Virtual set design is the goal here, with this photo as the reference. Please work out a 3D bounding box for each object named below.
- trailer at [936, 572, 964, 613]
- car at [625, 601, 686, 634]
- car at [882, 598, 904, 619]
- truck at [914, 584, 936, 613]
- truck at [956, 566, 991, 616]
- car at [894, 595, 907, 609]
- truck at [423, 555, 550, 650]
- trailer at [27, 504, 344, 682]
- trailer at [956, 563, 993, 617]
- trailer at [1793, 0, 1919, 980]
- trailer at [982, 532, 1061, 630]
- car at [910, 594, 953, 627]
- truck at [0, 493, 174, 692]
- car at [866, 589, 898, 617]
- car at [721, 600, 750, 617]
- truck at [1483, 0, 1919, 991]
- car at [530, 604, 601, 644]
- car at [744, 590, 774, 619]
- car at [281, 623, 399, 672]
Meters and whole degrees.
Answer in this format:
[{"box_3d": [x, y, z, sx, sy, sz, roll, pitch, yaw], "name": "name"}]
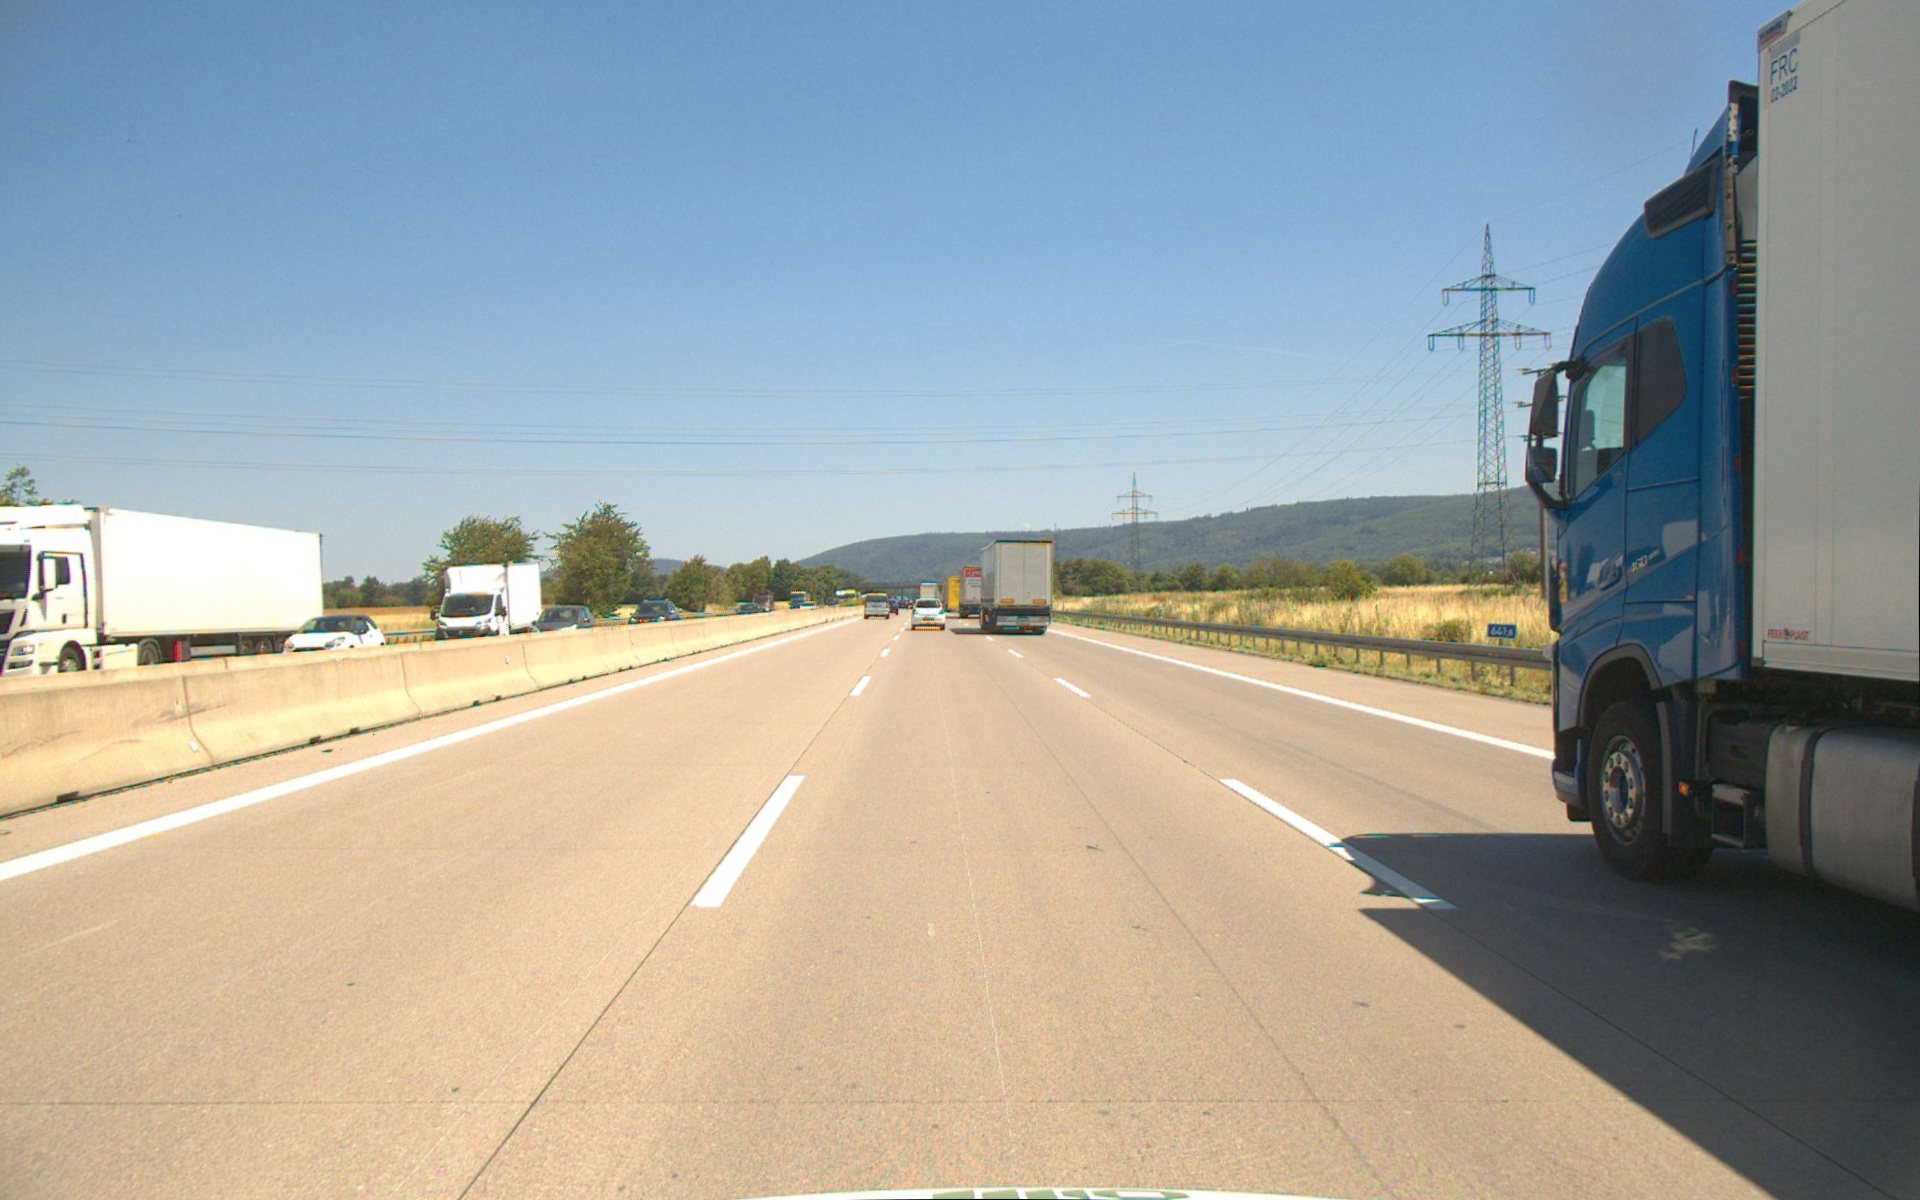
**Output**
[{"box_3d": [-1.215, -0.839, 197.523, 3.150, 4.643, 13.453, 1, 0, -1], "name": "trailer"}, {"box_3d": [-13.252, 0.736, 72.158, 1.808, 1.375, 4.493, 0, 0, 0], "name": "car"}, {"box_3d": [-6.343, 0.806, 156.773, 1.953, 1.991, 3.999, 1, 0, -1], "name": "car"}, {"box_3d": [-5.297, -0.210, 252.672, 3.285, 4.347, 8.226, 1, 0, -1], "name": "truck"}, {"box_3d": [1.097, -0.749, 141.903, 2.846, 4.172, 6.271, 1, 0, -1], "name": "truck"}, {"box_3d": [-8.600, 0.302, 239.283, 1.747, 1.914, 3.999, 1, 0, -1], "name": "car"}, {"box_3d": [-16.874, 0.096, 59.470, 2.495, 3.197, 7.920, 0, 0, -2], "name": "truck"}, {"box_3d": [-20.457, -0.156, 44.992, 2.762, 4.115, 12.675, 1, 0, -1], "name": "trailer"}, {"box_3d": [1.127, -0.750, 136.391, 2.815, 4.172, 13.510, 1, 0, 0], "name": "trailer"}, {"box_3d": [5.156, -0.577, 0.918, 2.654, 4.114, 12.899, 1, 0, -1], "name": "trailer"}, {"box_3d": [2.730, -0.819, 77.712, 2.956, 4.132, 14.204, 1, 0, -1], "name": "trailer"}, {"box_3d": [-1.384, 0.511, 81.941, 2.064, 1.563, 4.122, 1, 0, 0], "name": "car"}, {"box_3d": [-20.338, -0.162, 37.014, 2.761, 4.115, 5.677, 1, 0, -1], "name": "truck"}, {"box_3d": [-5.915, 0.215, 125.433, 2.209, 2.049, 4.297, 1, 0, -1], "name": "car"}, {"box_3d": [-15.621, 0.585, 115.211, 1.490, 1.071, 3.523, 1, 0, 0], "name": "car"}, {"box_3d": [5.015, -0.536, 8.674, 2.694, 4.114, 5.464, 1, 0, -1], "name": "truck"}, {"box_3d": [-12.450, 0.736, 52.388, 1.511, 1.183, 3.374, 1, 0, -2], "name": "car"}, {"box_3d": [-20.439, 0.481, 168.620, 2.202, 2.835, 6.791, 1, 0, 0], "name": "car"}, {"box_3d": [-16.474, 1.225, 44.162, 1.646, 1.166, 4.396, 0, 0, -3], "name": "car"}]
